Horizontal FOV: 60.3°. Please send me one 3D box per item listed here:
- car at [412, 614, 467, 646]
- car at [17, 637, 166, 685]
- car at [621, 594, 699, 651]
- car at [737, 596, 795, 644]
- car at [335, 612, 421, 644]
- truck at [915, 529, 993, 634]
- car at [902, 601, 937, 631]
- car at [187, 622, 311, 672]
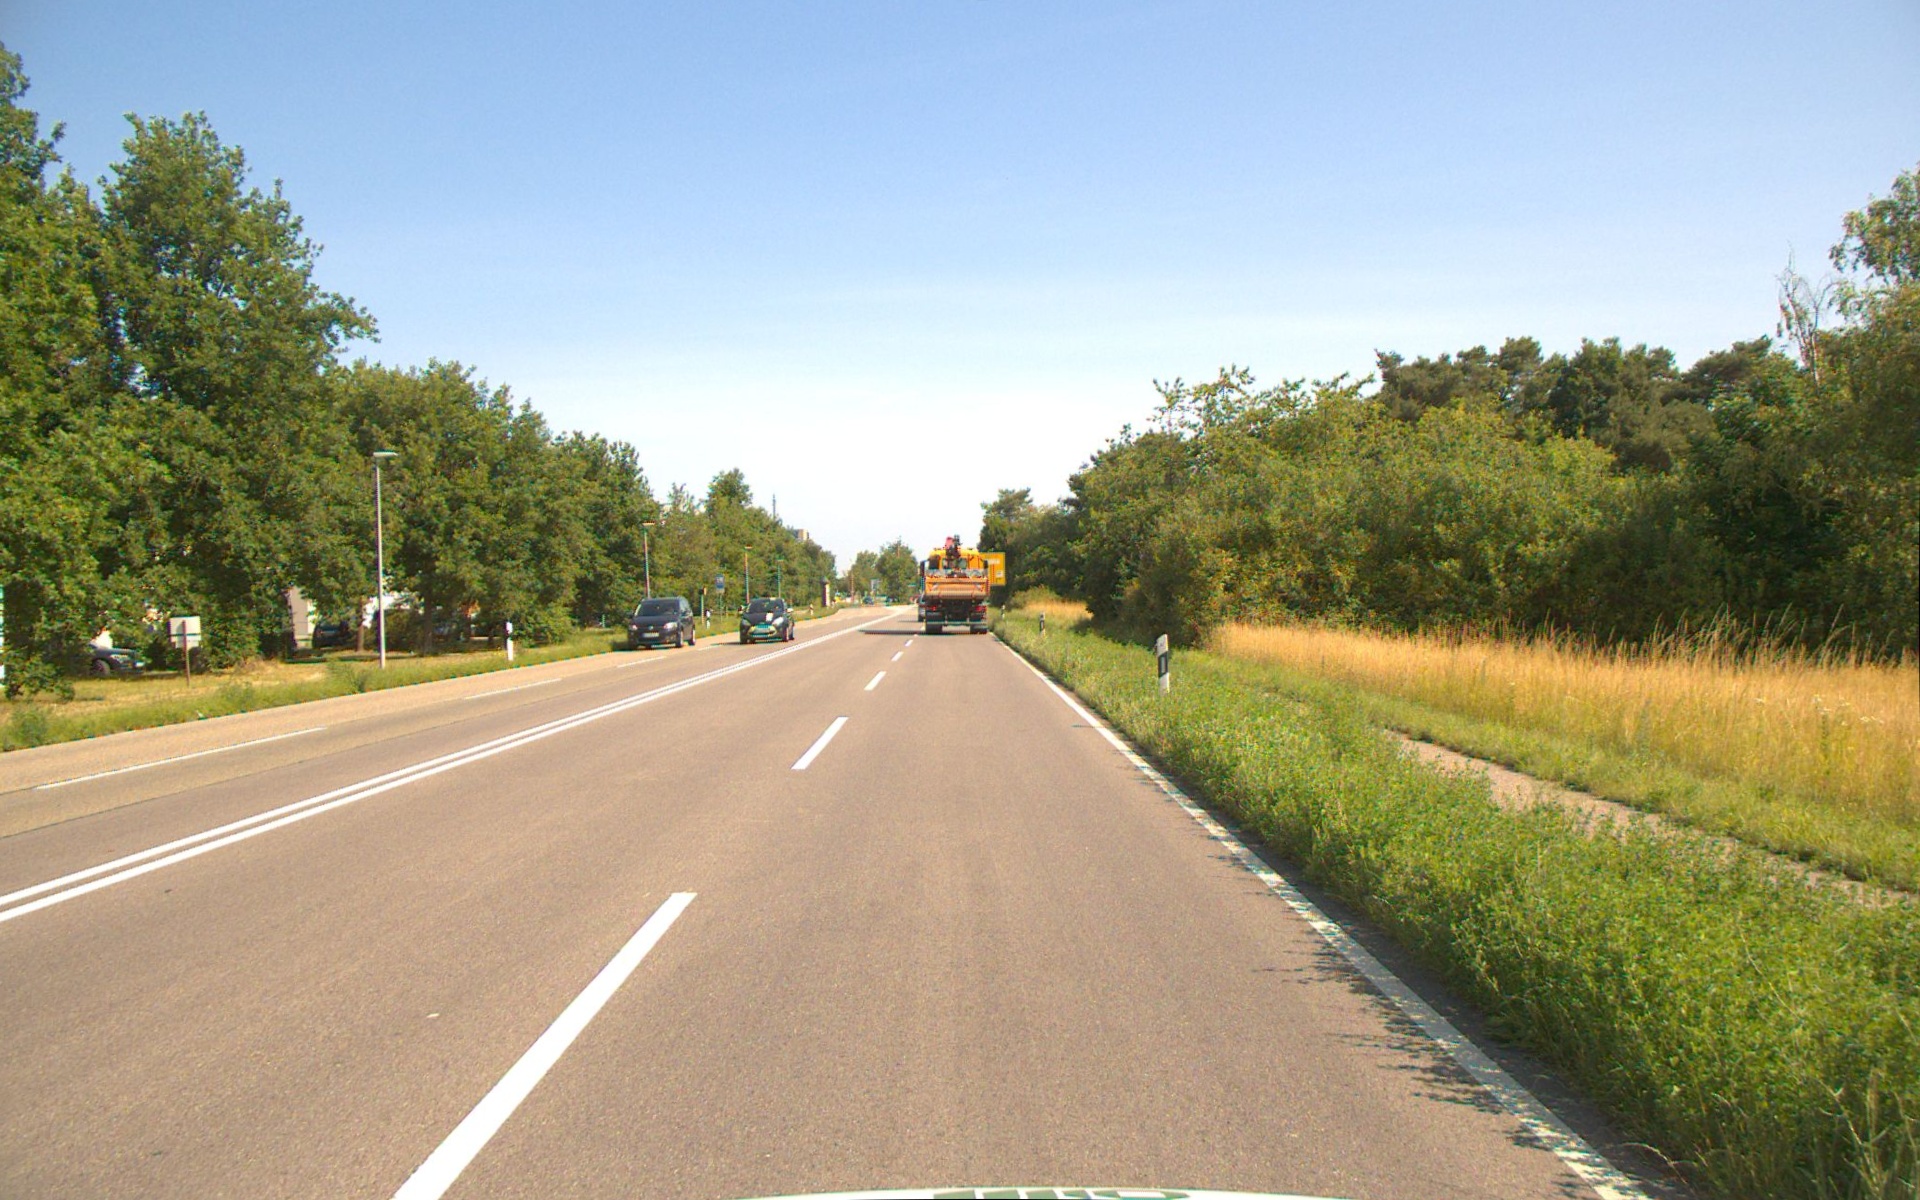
[{"bbox_3d":[-29.453,1.664,93.716,1.890,1.680,4.190,-1,0,-2],"label":"car"},{"bbox_3d":[-28.930,2.022,55.178,3.906,1.328,1.863,-3,0,0],"label":"car"},{"bbox_3d":[-9.873,0.718,54.721,1.789,1.700,4.388,-3,0,-2],"label":"car"},{"bbox_3d":[-6.549,0.651,56.011,1.486,1.475,3.774,-3,0,-1],"label":"car"},{"bbox_3d":[-36.373,1.720,103.525,2.028,1.838,5.006,-1,0,30],"label":"car"},{"bbox_3d":[-0.317,-0.716,66.596,2.814,3.948,7.396,1,0,-3],"label":"truck"},{"bbox_3d":[-2.390,0.903,95.875,1.953,1.611,3.998,-1,0,-2],"label":"car"},{"bbox_3d":[-29.244,1.930,68.092,4.137,1.761,2.000,-4,0,-1],"label":"car"}]
